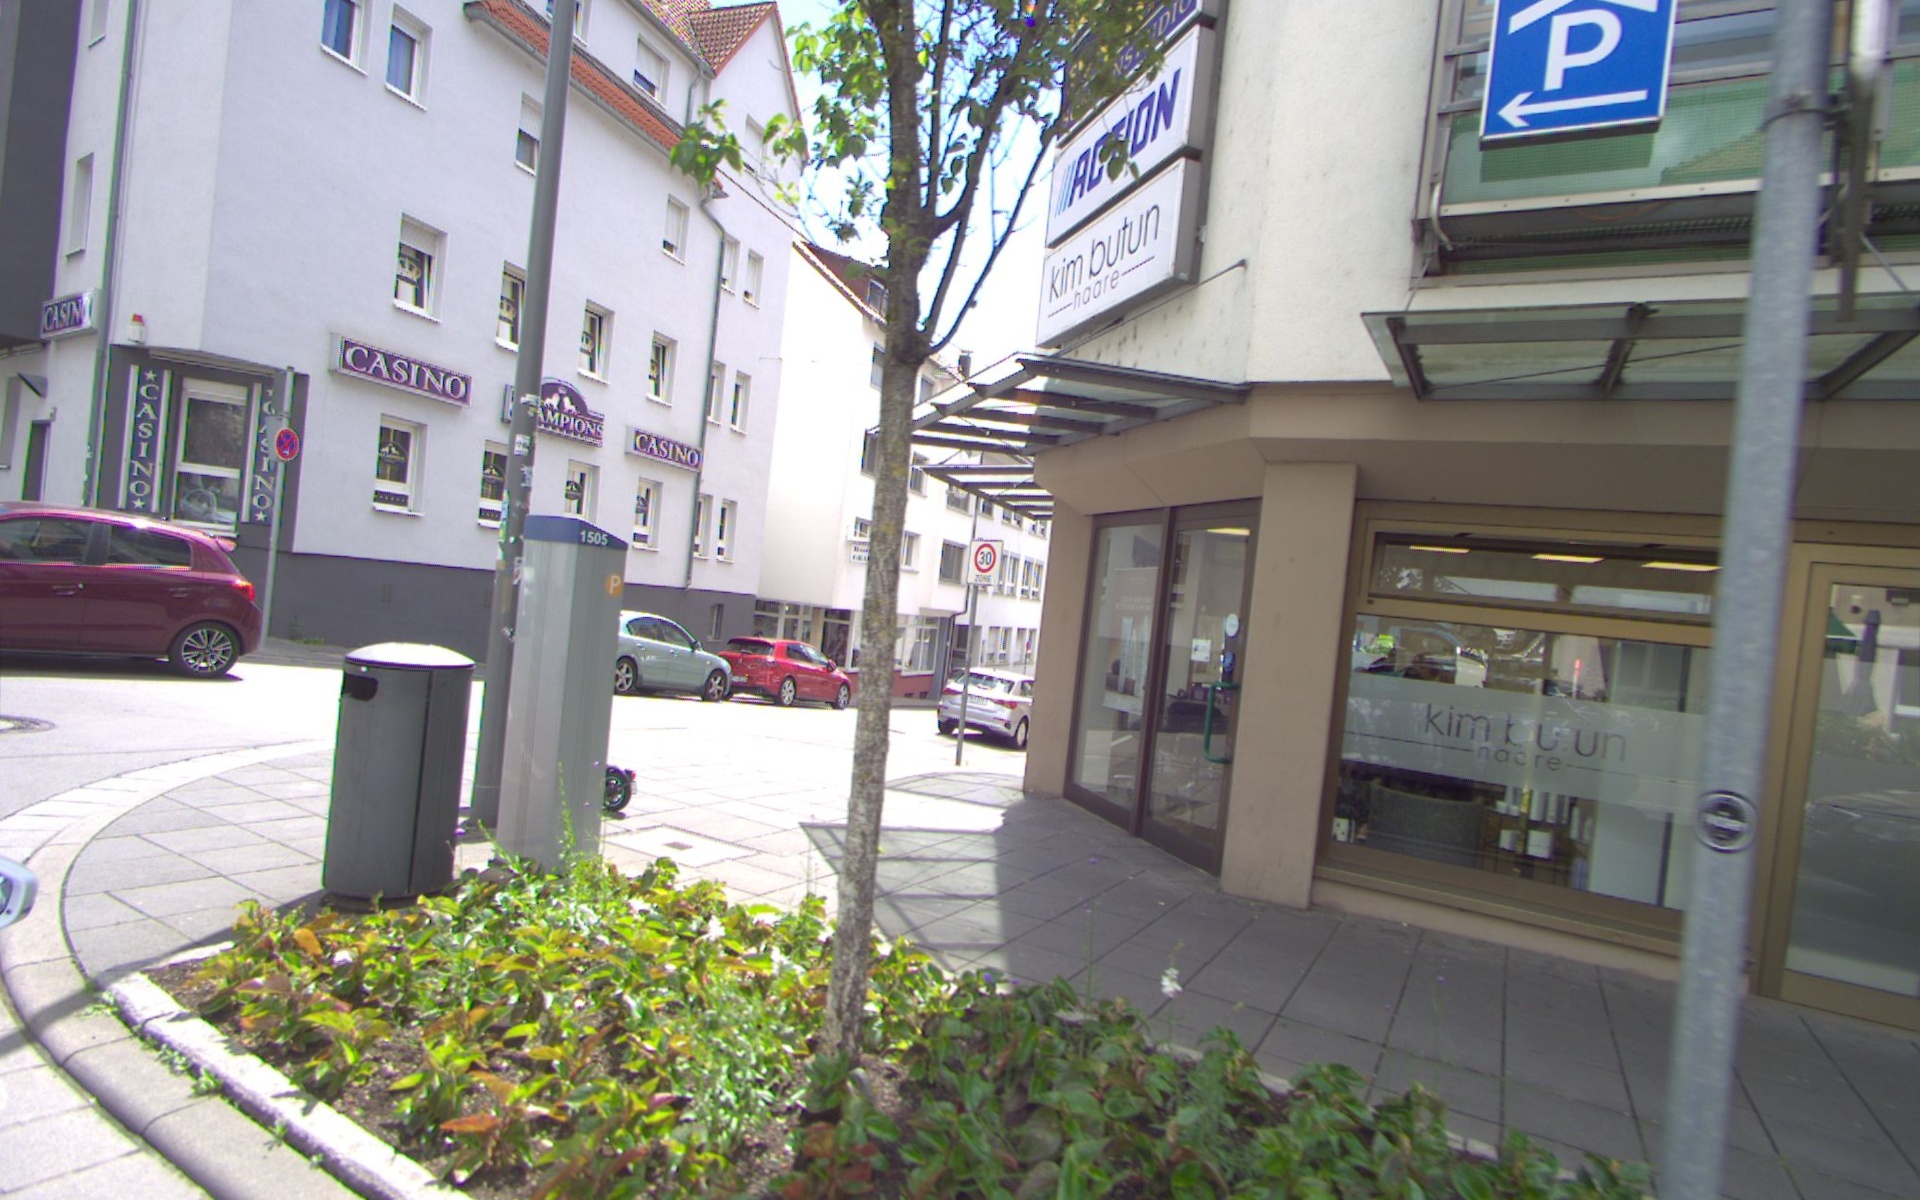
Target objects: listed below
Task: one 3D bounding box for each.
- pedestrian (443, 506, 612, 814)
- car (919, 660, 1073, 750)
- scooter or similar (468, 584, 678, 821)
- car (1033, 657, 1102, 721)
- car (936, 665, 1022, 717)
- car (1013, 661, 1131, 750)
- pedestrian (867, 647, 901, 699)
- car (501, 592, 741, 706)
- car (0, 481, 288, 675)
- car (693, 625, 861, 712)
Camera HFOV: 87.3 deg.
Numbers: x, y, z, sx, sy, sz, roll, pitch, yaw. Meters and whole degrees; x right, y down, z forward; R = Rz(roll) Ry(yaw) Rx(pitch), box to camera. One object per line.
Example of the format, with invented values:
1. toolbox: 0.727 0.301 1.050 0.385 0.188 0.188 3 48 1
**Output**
1. pedestrian: -2.577 0.353 6.025 0.473 1.723 0.572 6 -1 27
2. car: 0.869 2.215 21.022 1.816 1.413 3.896 8 -3 23
3. scooter or similar: -2.468 0.617 6.391 1.228 1.295 0.431 6 -1 30
4. car: 5.238 4.344 48.401 2.028 2.521 4.493 7 -6 20
5. car: 0.756 3.305 36.102 1.815 1.412 3.848 7 -6 20
6. car: 3.025 2.812 26.121 1.815 1.771 4.409 9 -5 21
7. pedestrian: -2.601 2.503 34.545 0.570 1.676 0.949 8 -2 22
8. car: -5.885 0.960 18.000 1.816 1.412 3.900 6 -6 23
9. car: -8.549 -0.257 9.058 1.512 1.547 3.752 6 -2 33
10. car: -4.007 1.605 22.703 1.816 1.412 3.847 6 -6 23
